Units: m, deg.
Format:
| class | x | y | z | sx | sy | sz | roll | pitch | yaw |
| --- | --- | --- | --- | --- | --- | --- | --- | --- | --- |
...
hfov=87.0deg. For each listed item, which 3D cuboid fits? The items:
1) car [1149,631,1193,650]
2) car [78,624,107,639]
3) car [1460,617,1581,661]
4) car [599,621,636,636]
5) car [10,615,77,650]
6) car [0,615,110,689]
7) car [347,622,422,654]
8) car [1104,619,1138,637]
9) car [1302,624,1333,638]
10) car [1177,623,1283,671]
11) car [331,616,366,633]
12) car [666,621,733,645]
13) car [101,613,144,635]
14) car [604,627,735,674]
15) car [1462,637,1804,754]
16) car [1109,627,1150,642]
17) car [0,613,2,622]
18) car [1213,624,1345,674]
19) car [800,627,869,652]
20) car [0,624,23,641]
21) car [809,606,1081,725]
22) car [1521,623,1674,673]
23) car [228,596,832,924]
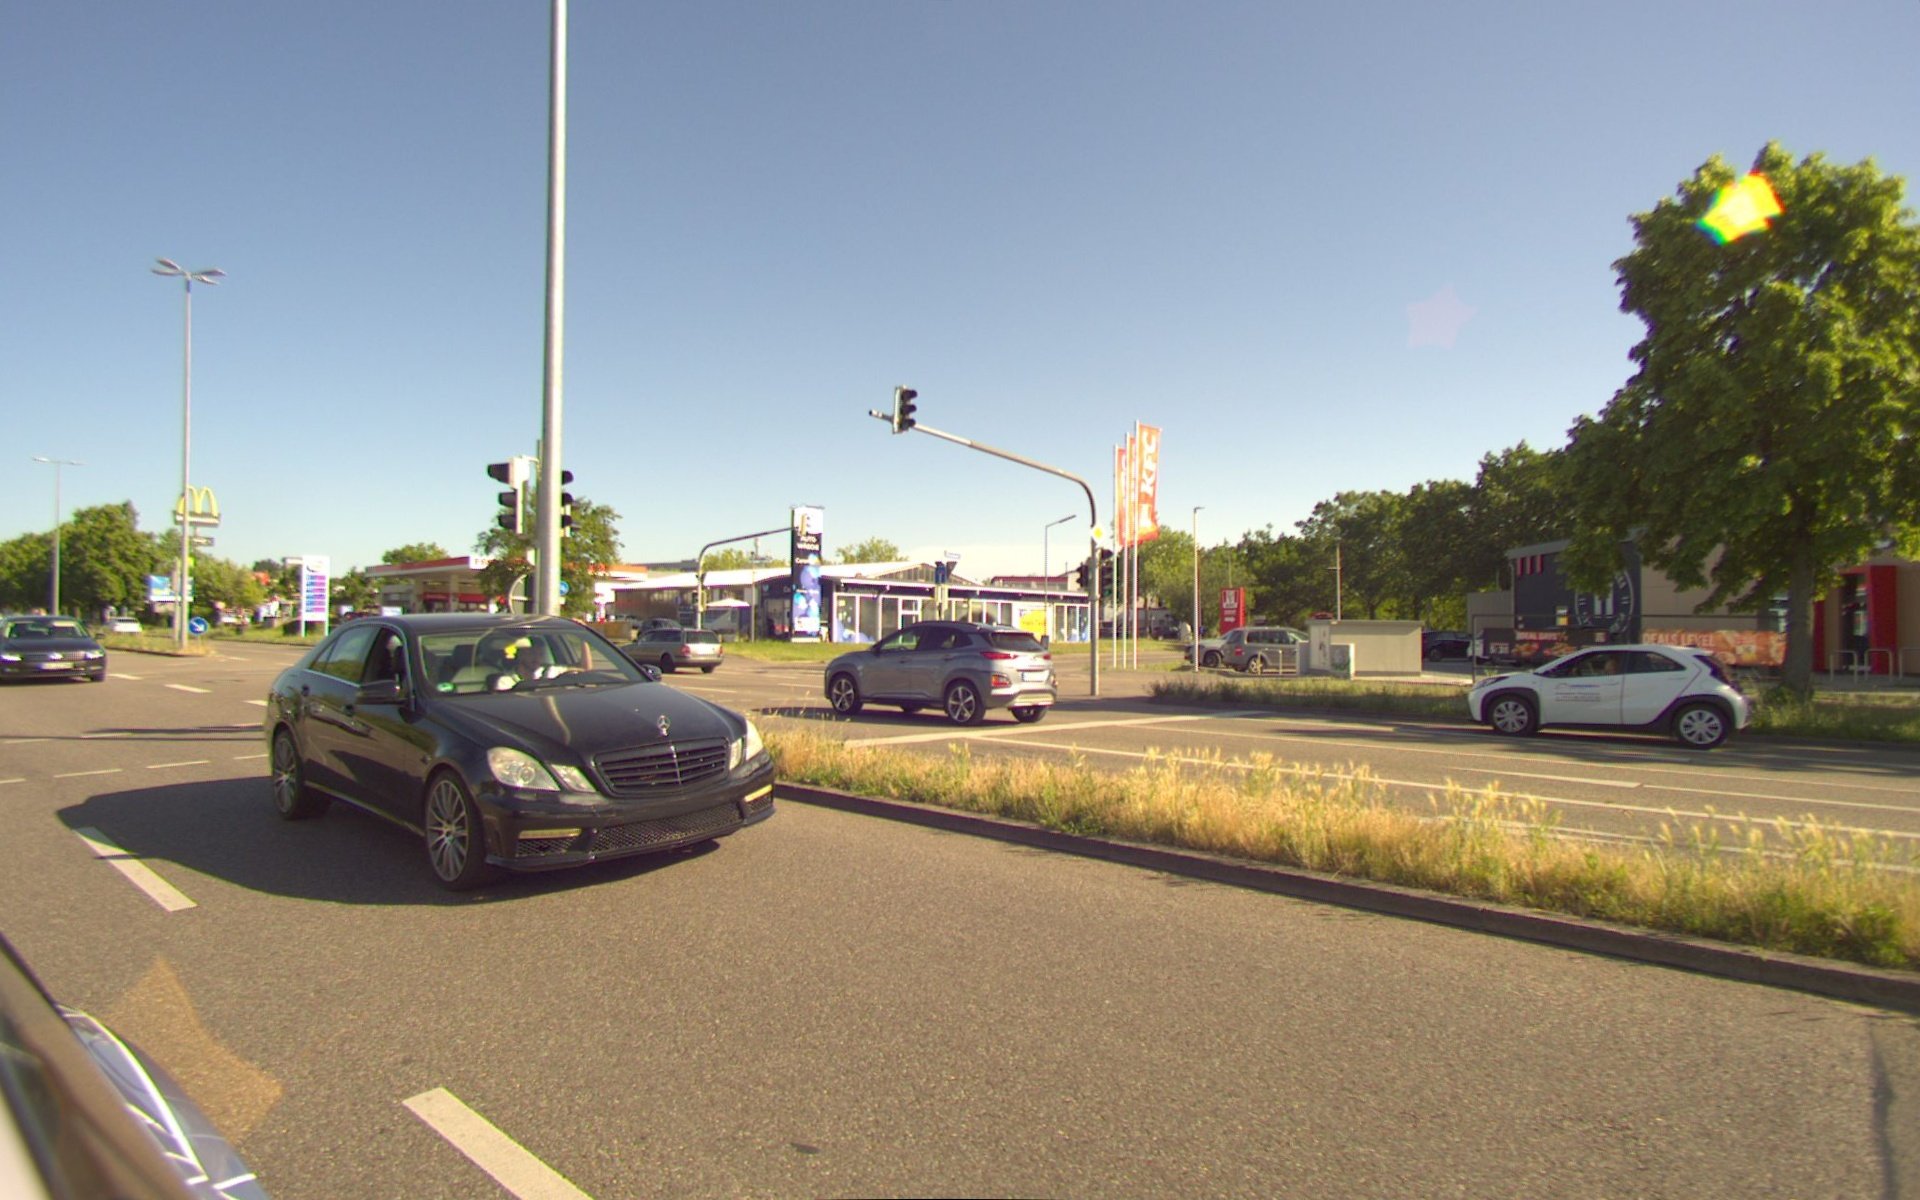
| class | x | y | z | sx | sy | sz | roll | pitch | yaw |
| --- | --- | --- | --- | --- | --- | --- | --- | --- | --- |
| car | 19.951 | 3.857 | 95.777 | 3.694 | 1.681 | 1.882 | -1 | -3 | 44 |
| car | -89.479 | 3.199 | 104.359 | 4.457 | 1.443 | 1.677 | 0 | -3 | 42 |
| car | 23.082 | 1.582 | 41.793 | 3.940 | 1.762 | 1.885 | 0 | -2 | -3 |
| car | -34.879 | 2.922 | 103.020 | 4.116 | 1.451 | 1.750 | -1 | -2 | 40 |
| car | -40.949 | 1.431 | 45.207 | 4.115 | 1.466 | 1.767 | -1 | -2 | 42 |
| car | -20.395 | 1.078 | 22.399 | 4.264 | 1.464 | 1.824 | -1 | -1 | 42 |
| car | -28.638 | 1.867 | 50.317 | 4.194 | 1.537 | 1.973 | -2 | -3 | 41 |
| car | 20.869 | 3.648 | 131.354 | 4.063 | 2.109 | 1.900 | 2 | -2 | 1 |
| car | 48.183 | 4.203 | 136.415 | 2.069 | 1.813 | 4.793 | 2 | -2 | -6 |
| car | 10.884 | 1.890 | 40.955 | 3.778 | 1.864 | 1.847 | 0 | 0 | 1 |
| car | -62.401 | 2.513 | 103.251 | 4.116 | 1.625 | 1.740 | 0 | -3 | 40 |
| car | -16.013 | 2.016 | 62.134 | 4.116 | 1.335 | 1.876 | 0 | -3 | 40 |
| car | -64.263 | 1.852 | 77.658 | 4.265 | 1.612 | 1.875 | 0 | -3 | 42 |
| car | -9.677 | 1.640 | 33.500 | 4.621 | 1.387 | 1.973 | 0 | -2 | 41 |
| car | 10.300 | 1.349 | 15.652 | 4.194 | 1.485 | 1.973 | 0 | -2 | 41 |
| car | 18.014 | 3.636 | 107.613 | 4.087 | 1.443 | 1.889 | 1 | -2 | 19 |
| car | -165.396 | 2.996 | 173.256 | 4.457 | 1.443 | 1.677 | 0 | -3 | 42 |
| car | 11.350 | 1.715 | 36.235 | 4.073 | 1.674 | 1.896 | 0 | 0 | -1 |
| car | -7.795 | 2.477 | 63.207 | 1.900 | 1.443 | 4.063 | 0 | -3 | 41 |
| car | -85.637 | 2.882 | 91.008 | 3.663 | 1.443 | 1.677 | 0 | -3 | 42 |
| car | -0.328 | 0.974 | 16.207 | 4.169 | 1.654 | 1.855 | 0 | -3 | 41 |
| car | 22.398 | 1.668 | 35.682 | 4.181 | 1.674 | 1.896 | 0 | 0 | -1 |
| car | -3.240 | 0.765 | 6.995 | 4.916 | 1.494 | 1.938 | -1 | -1 | 42 |
